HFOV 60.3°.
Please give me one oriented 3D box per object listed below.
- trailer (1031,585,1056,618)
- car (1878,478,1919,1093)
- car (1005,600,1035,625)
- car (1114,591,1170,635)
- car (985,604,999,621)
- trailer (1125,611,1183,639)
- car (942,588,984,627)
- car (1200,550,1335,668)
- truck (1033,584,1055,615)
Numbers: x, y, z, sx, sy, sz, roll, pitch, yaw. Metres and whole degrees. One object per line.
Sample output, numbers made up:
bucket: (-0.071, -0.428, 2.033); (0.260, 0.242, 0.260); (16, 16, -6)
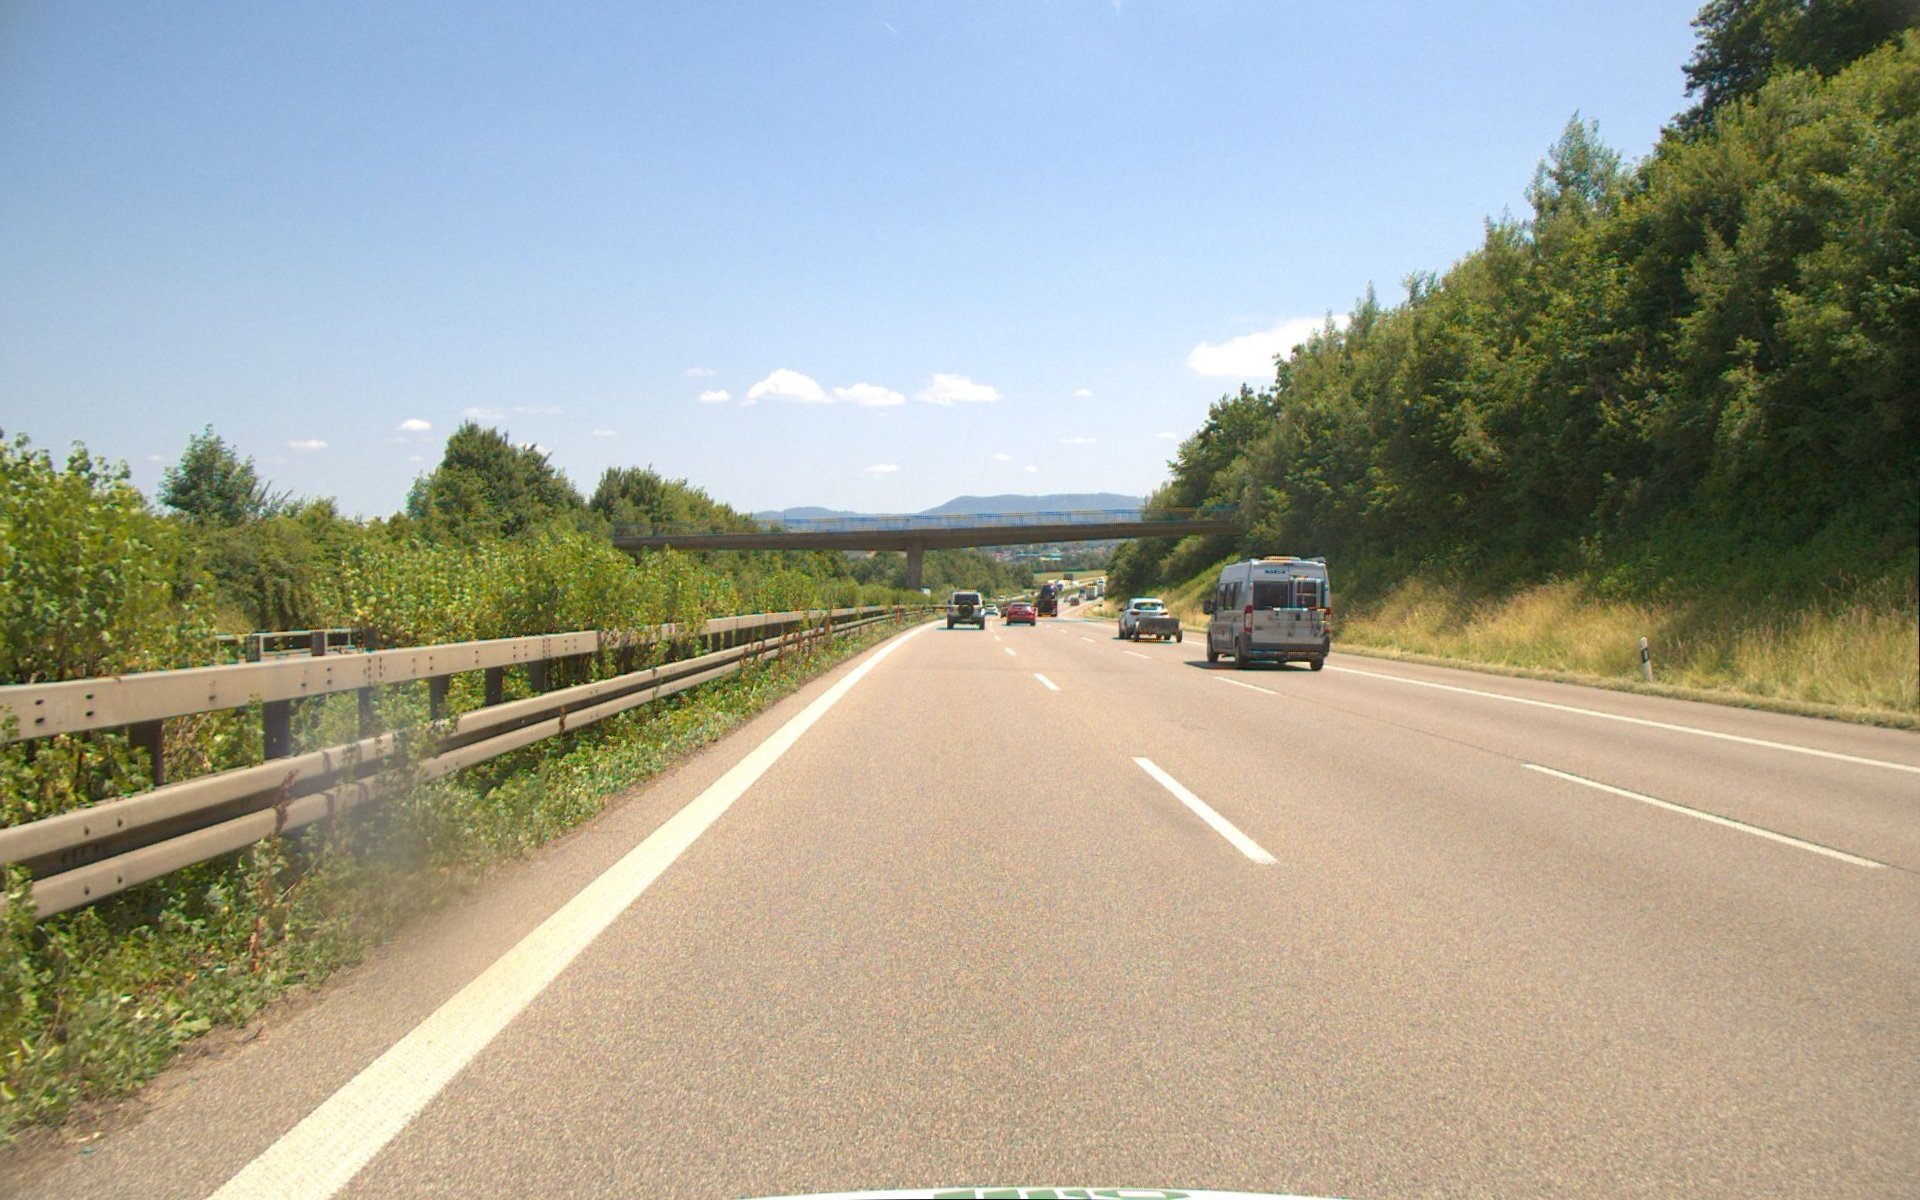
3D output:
trailer: (10.813, 0.097, 214.233); (2.795, 4.063, 15.406); (1, 1, 4)
car: (3.804, 0.575, 2.841); (1.710, 1.861, 4.800); (1, 0, -1)
car: (3.722, 0.748, 102.797); (1.651, 1.403, 3.948); (1, 1, -1)
car: (7.494, 0.525, 68.456); (1.745, 1.679, 4.403); (1, 1, -1)
car: (4.168, 1.605, 216.569); (1.663, 2.049, 3.822); (1, 1, 0)
trailer: (7.489, 0.964, 64.087); (1.718, 0.924, 4.319); (1, 1, 0)
car: (0.194, 0.365, 84.577); (2.040, 1.861, 4.754); (1, 1, 1)
car: (7.402, 0.153, 40.562); (2.046, 2.621, 6.622); (1, 1, 0)
truck: (11.296, -0.088, 221.858); (2.696, 3.920, 6.648); (1, 1, 4)
